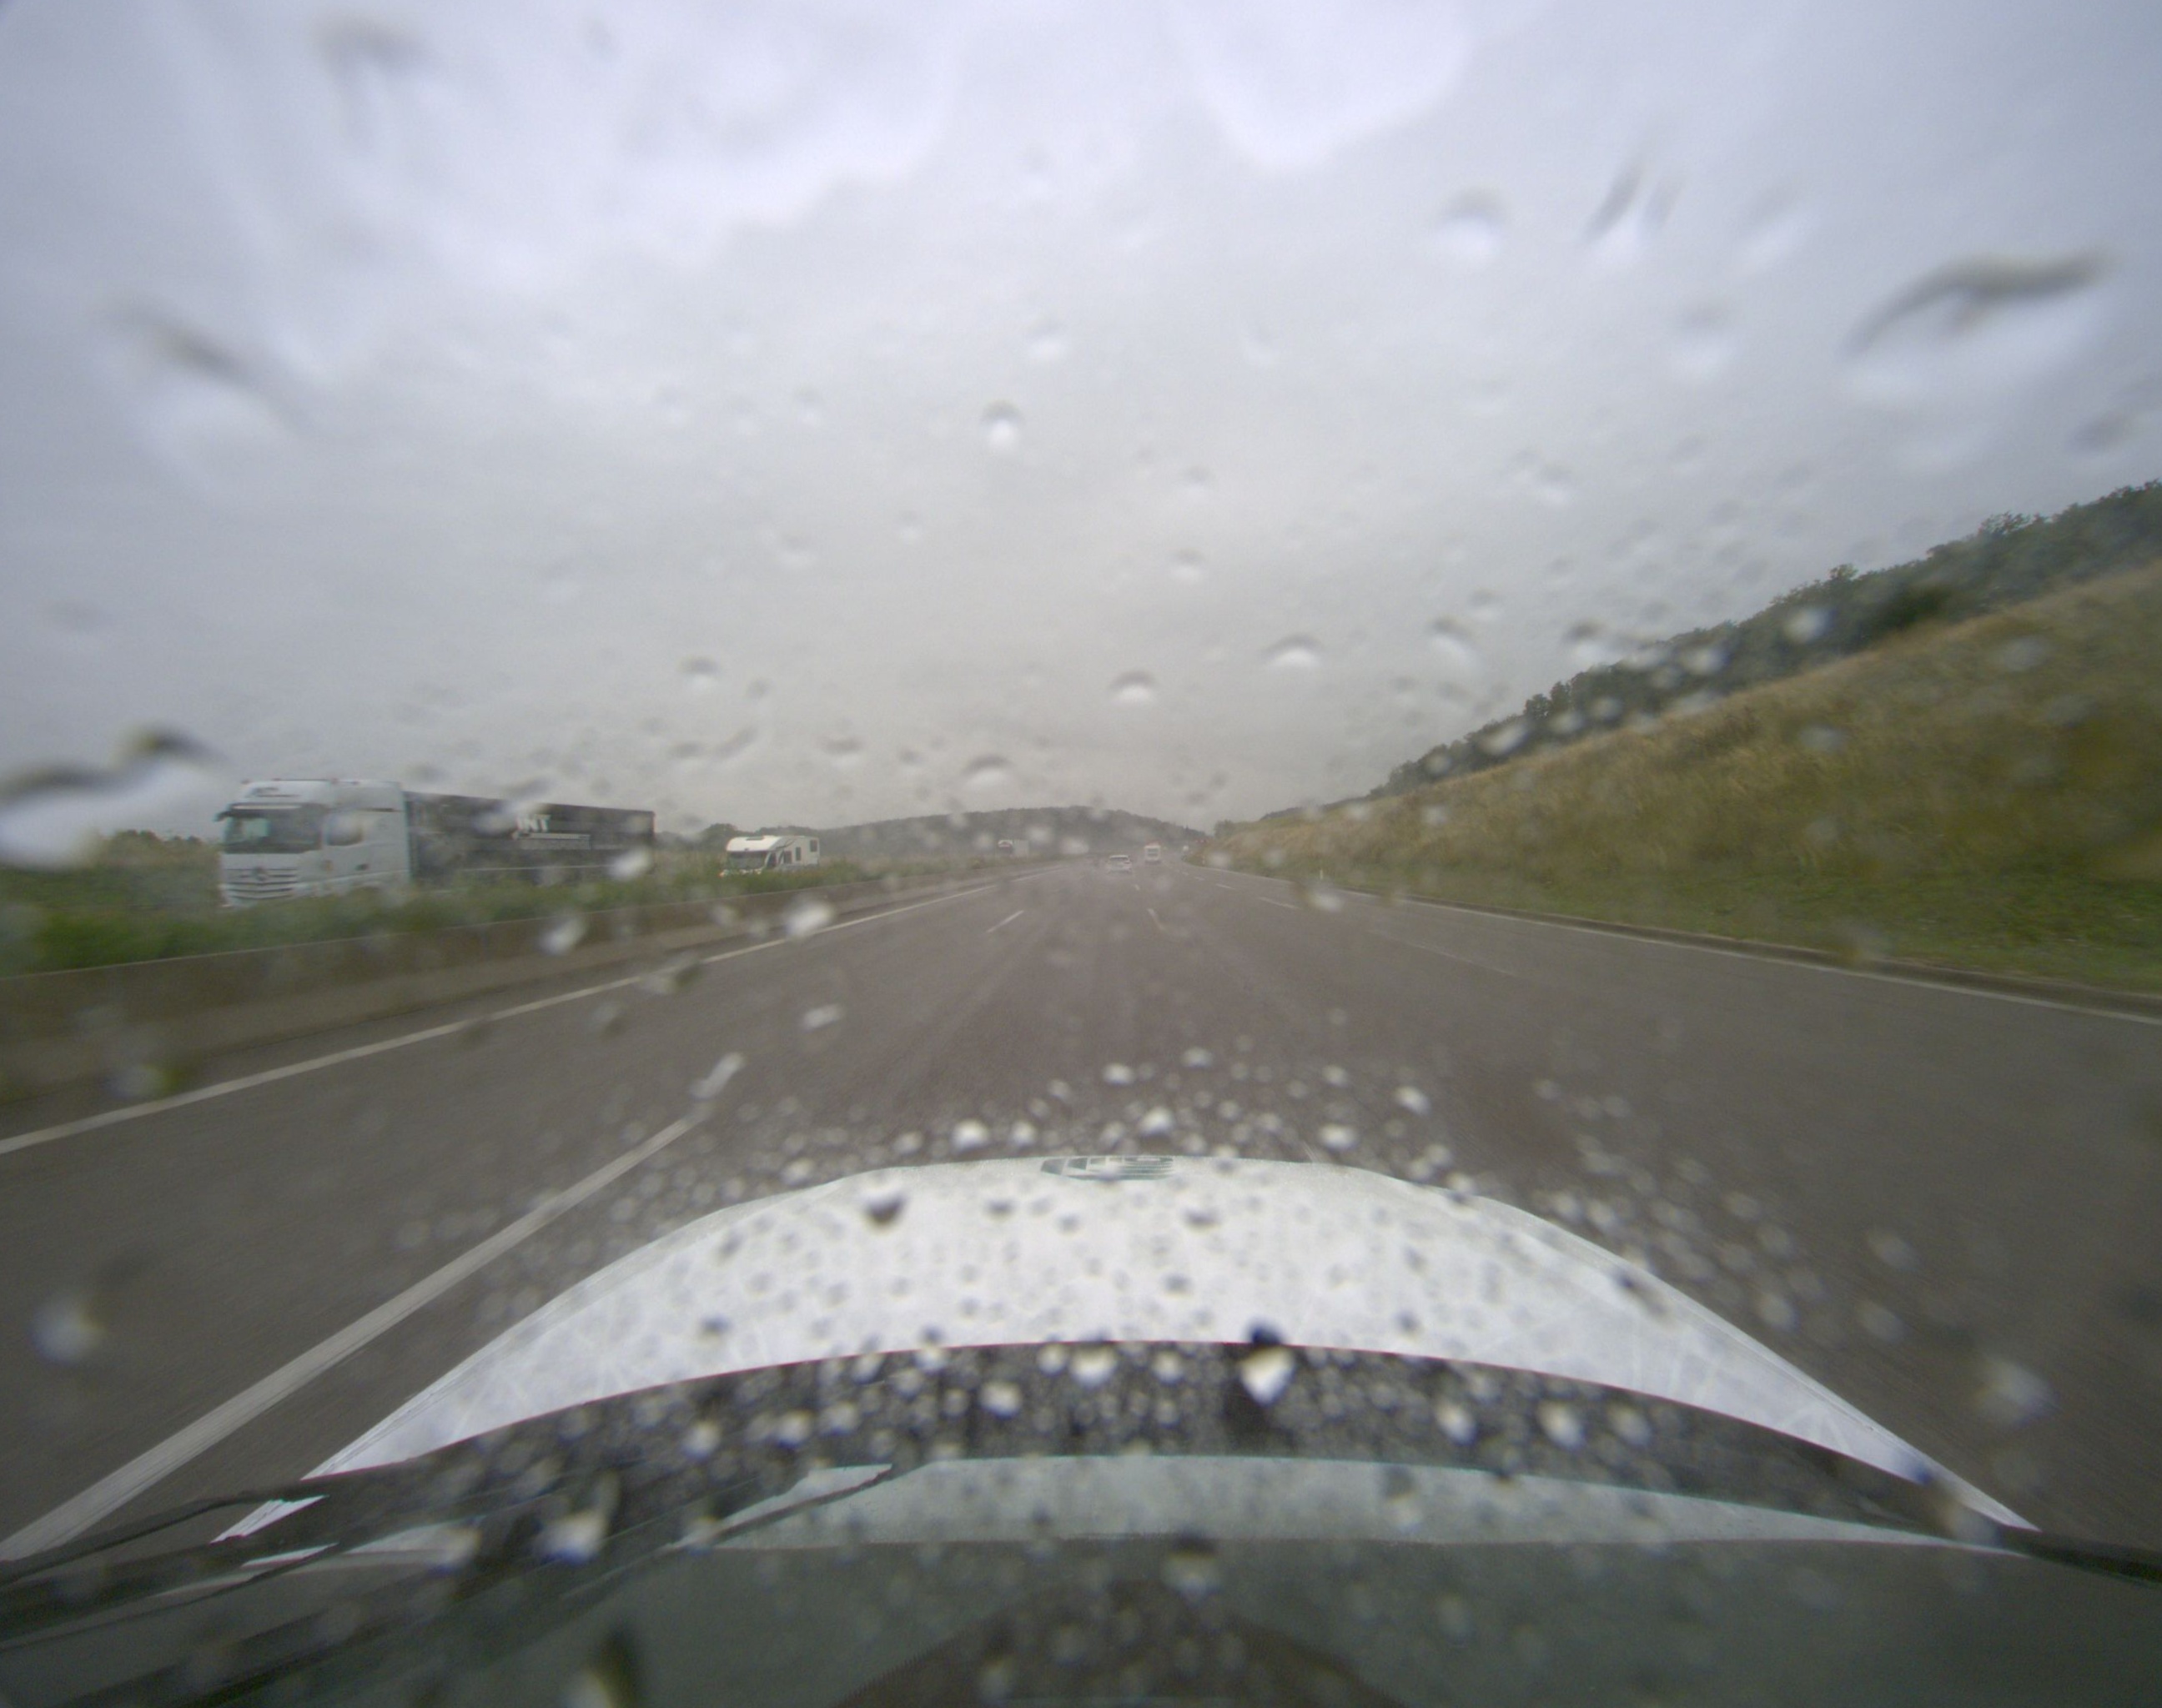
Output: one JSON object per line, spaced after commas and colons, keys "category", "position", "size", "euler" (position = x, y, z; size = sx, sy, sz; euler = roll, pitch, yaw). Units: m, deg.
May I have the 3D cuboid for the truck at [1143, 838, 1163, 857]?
{"category": "truck", "position": [14.305, -1.311, 163.147], "size": [3.512, 3.742, 11.436], "euler": [-1, 1, 3]}

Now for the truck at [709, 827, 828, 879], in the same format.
{"category": "truck", "position": [-14.520, 0.028, 38.495], "size": [2.465, 2.155, 7.429], "euler": [-1, -1, 2]}

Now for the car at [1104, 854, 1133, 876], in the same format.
{"category": "car", "position": [2.599, 0.747, 57.025], "size": [1.861, 1.463, 4.001], "euler": [-1, -1, 1]}

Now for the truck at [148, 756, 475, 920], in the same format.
{"category": "truck", "position": [-19.217, -0.295, 20.940], "size": [2.768, 3.608, 5.742], "euler": [-1, -1, 2]}

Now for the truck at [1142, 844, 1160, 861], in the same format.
{"category": "truck", "position": [9.830, -0.177, 114.587], "size": [2.398, 2.252, 4.697], "euler": [-1, 0, 3]}

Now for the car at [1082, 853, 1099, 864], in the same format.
{"category": "car", "position": [1.057, 0.562, 91.176], "size": [1.817, 1.156, 4.213], "euler": [-1, -1, 1]}

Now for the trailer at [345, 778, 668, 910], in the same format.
{"category": "trailer", "position": [-18.839, -0.172, 28.241], "size": [2.752, 3.621, 11.157], "euler": [-1, -1, 3]}

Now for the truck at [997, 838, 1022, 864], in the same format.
{"category": "truck", "position": [-11.186, -0.466, 128.044], "size": [2.940, 3.994, 6.224], "euler": [-1, 0, 4]}

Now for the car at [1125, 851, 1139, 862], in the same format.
{"category": "car", "position": [7.819, 0.372, 125.779], "size": [1.986, 1.618, 4.001], "euler": [-1, 0, 1]}
